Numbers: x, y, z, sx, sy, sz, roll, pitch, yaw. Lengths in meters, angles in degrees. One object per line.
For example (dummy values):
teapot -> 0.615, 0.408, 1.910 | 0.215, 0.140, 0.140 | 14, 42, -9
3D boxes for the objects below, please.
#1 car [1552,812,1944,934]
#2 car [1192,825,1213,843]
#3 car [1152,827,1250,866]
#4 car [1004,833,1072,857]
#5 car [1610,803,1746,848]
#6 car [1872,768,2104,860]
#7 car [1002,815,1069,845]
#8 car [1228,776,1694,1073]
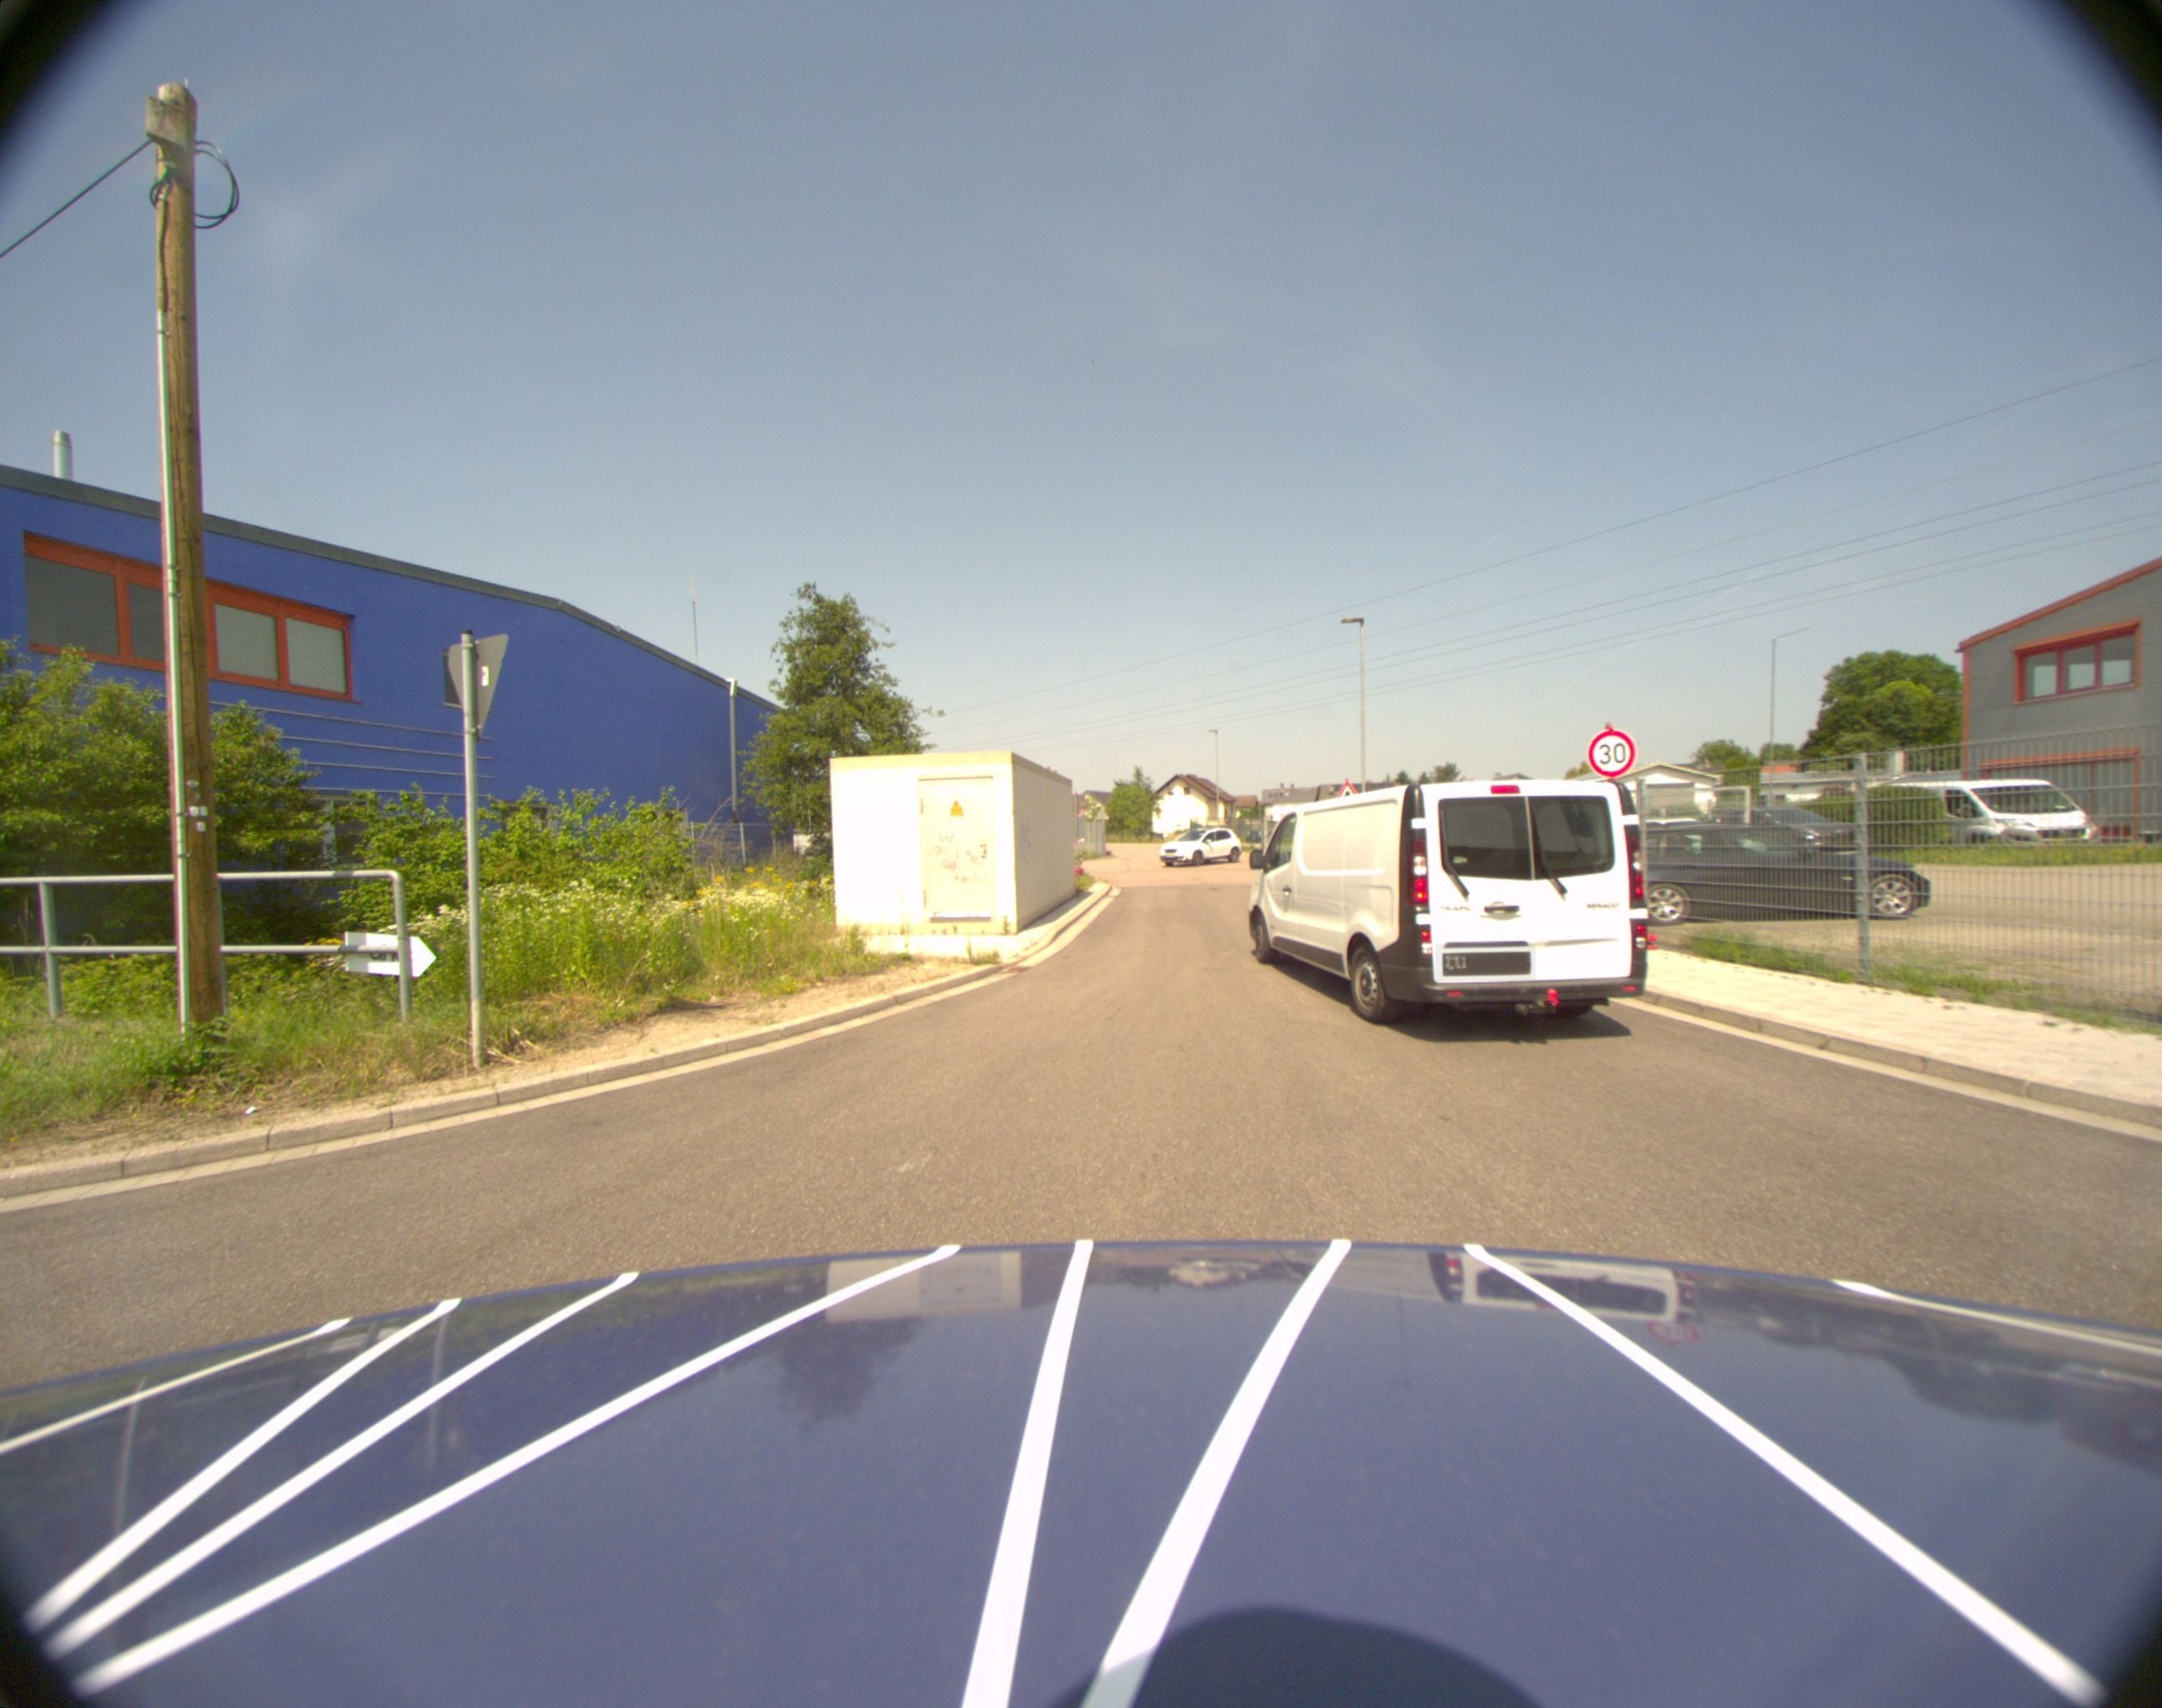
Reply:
car -> 9.494, 0.257, 11.138 | 3.995, 1.494, 1.775 | -2, 1, 8
car -> 11.032, -1.841, 68.954 | 1.772, 1.494, 4.163 | -1, 2, 9
car -> 5.245, -0.381, 32.975 | 4.169, 1.494, 1.770 | -3, 4, -37
car -> -3.006, -0.643, 52.826 | 4.575, 1.419, 1.999 | -2, 1, -5
car -> 21.201, -0.983, 27.239 | 1.896, 1.412, 4.201 | -2, 1, 6
car -> 24.566, -1.044, 20.880 | 1.996, 2.183, 4.326 | -2, 1, 15
car -> -3.377, -1.764, 55.640 | 4.653, 2.002, 1.998 | -2, 2, -10
car -> 3.172, 0.465, 7.740 | 2.008, 2.048, 4.810 | -1, 1, -5
